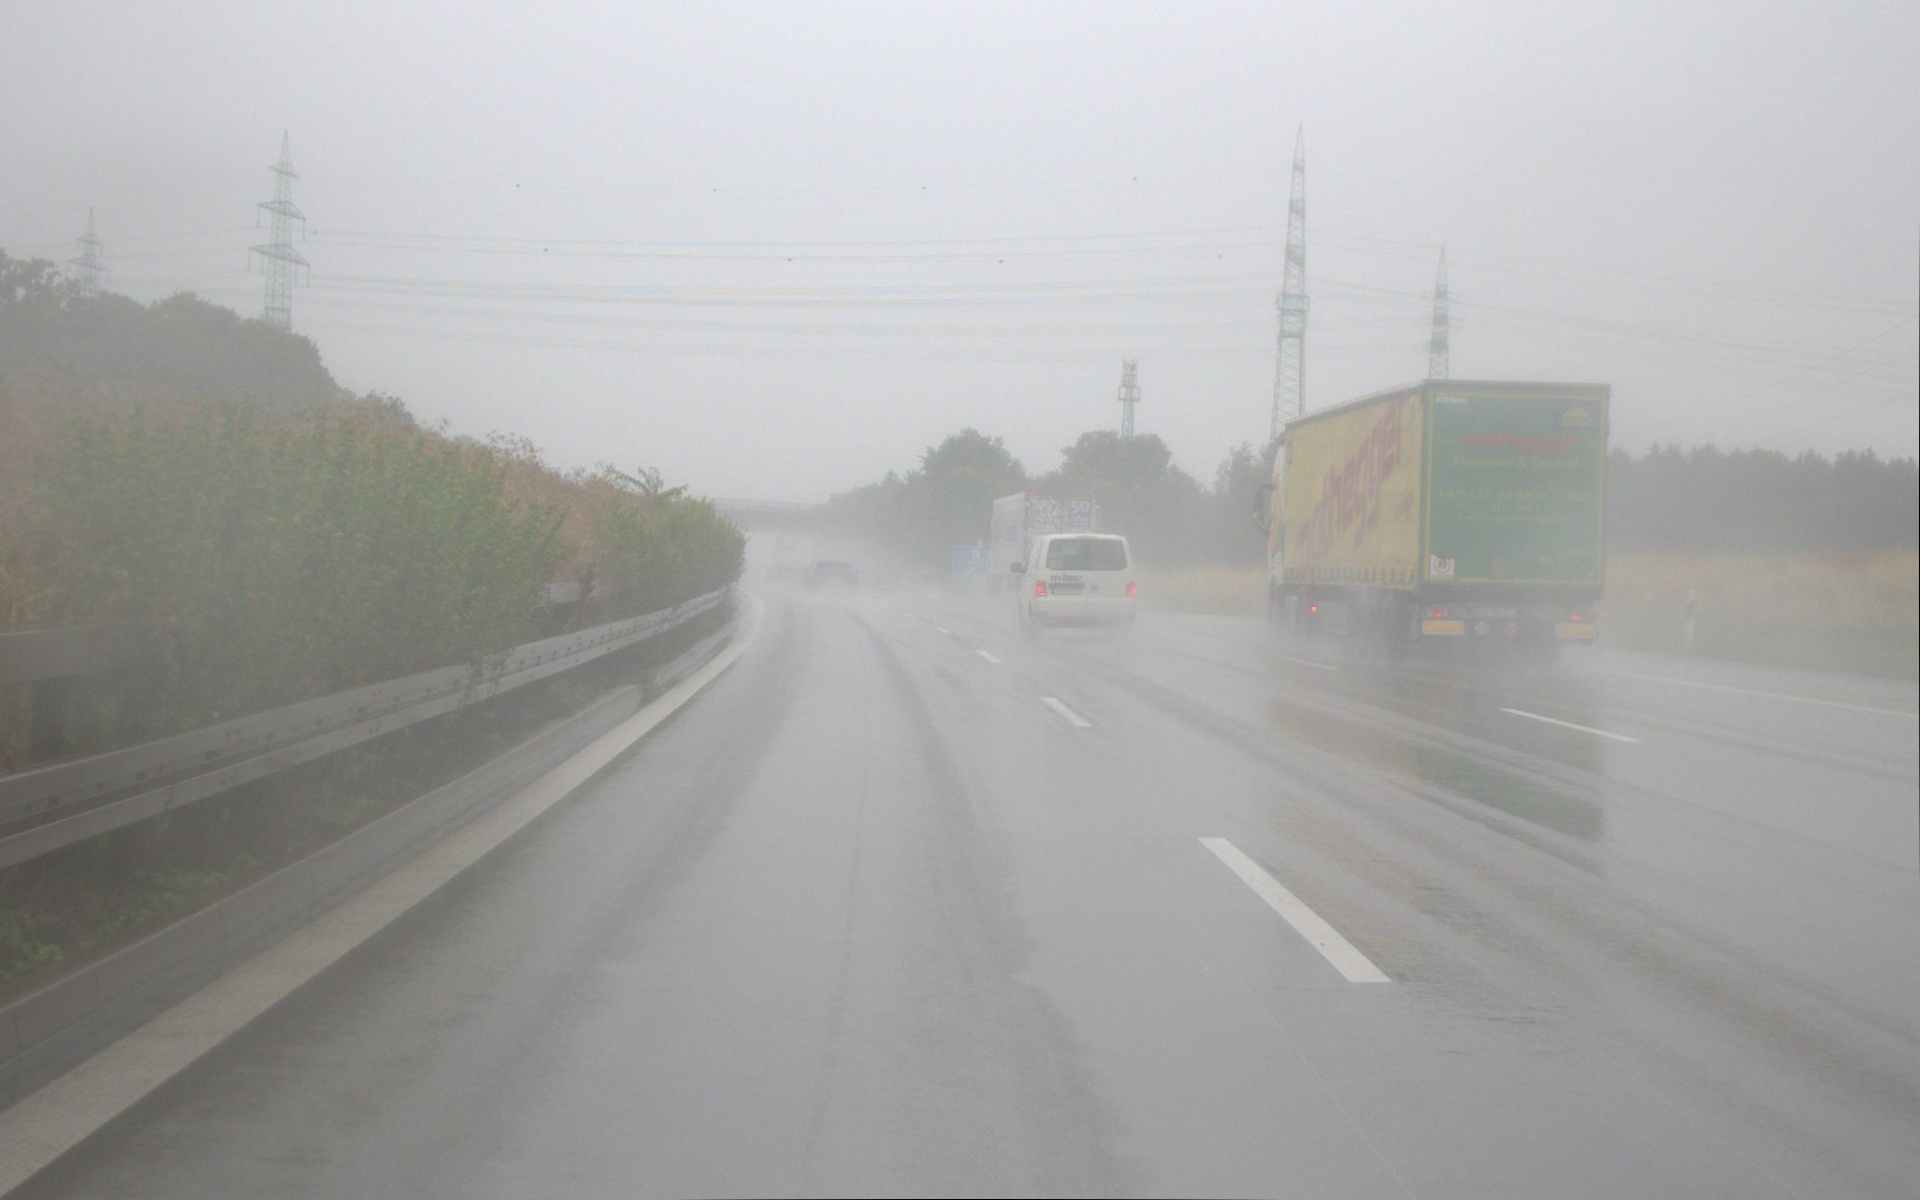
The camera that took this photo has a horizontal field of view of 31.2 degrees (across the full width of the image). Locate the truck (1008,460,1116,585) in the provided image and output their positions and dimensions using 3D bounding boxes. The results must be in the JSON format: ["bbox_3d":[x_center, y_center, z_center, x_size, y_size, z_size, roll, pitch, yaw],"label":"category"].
[{"bbox_3d":[3.566,-2.789,123.042,3.232,4.296,8.838,1,1,-2],"label":"truck"}]

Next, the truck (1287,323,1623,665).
[{"bbox_3d":[7.500,-1.568,54.903,4.190,4.614,16.103,1,1,4],"label":"truck"}]

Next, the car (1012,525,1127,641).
[{"bbox_3d":[2.026,-0.344,62.698,1.994,2.007,4.000,1,1,3],"label":"car"}]
